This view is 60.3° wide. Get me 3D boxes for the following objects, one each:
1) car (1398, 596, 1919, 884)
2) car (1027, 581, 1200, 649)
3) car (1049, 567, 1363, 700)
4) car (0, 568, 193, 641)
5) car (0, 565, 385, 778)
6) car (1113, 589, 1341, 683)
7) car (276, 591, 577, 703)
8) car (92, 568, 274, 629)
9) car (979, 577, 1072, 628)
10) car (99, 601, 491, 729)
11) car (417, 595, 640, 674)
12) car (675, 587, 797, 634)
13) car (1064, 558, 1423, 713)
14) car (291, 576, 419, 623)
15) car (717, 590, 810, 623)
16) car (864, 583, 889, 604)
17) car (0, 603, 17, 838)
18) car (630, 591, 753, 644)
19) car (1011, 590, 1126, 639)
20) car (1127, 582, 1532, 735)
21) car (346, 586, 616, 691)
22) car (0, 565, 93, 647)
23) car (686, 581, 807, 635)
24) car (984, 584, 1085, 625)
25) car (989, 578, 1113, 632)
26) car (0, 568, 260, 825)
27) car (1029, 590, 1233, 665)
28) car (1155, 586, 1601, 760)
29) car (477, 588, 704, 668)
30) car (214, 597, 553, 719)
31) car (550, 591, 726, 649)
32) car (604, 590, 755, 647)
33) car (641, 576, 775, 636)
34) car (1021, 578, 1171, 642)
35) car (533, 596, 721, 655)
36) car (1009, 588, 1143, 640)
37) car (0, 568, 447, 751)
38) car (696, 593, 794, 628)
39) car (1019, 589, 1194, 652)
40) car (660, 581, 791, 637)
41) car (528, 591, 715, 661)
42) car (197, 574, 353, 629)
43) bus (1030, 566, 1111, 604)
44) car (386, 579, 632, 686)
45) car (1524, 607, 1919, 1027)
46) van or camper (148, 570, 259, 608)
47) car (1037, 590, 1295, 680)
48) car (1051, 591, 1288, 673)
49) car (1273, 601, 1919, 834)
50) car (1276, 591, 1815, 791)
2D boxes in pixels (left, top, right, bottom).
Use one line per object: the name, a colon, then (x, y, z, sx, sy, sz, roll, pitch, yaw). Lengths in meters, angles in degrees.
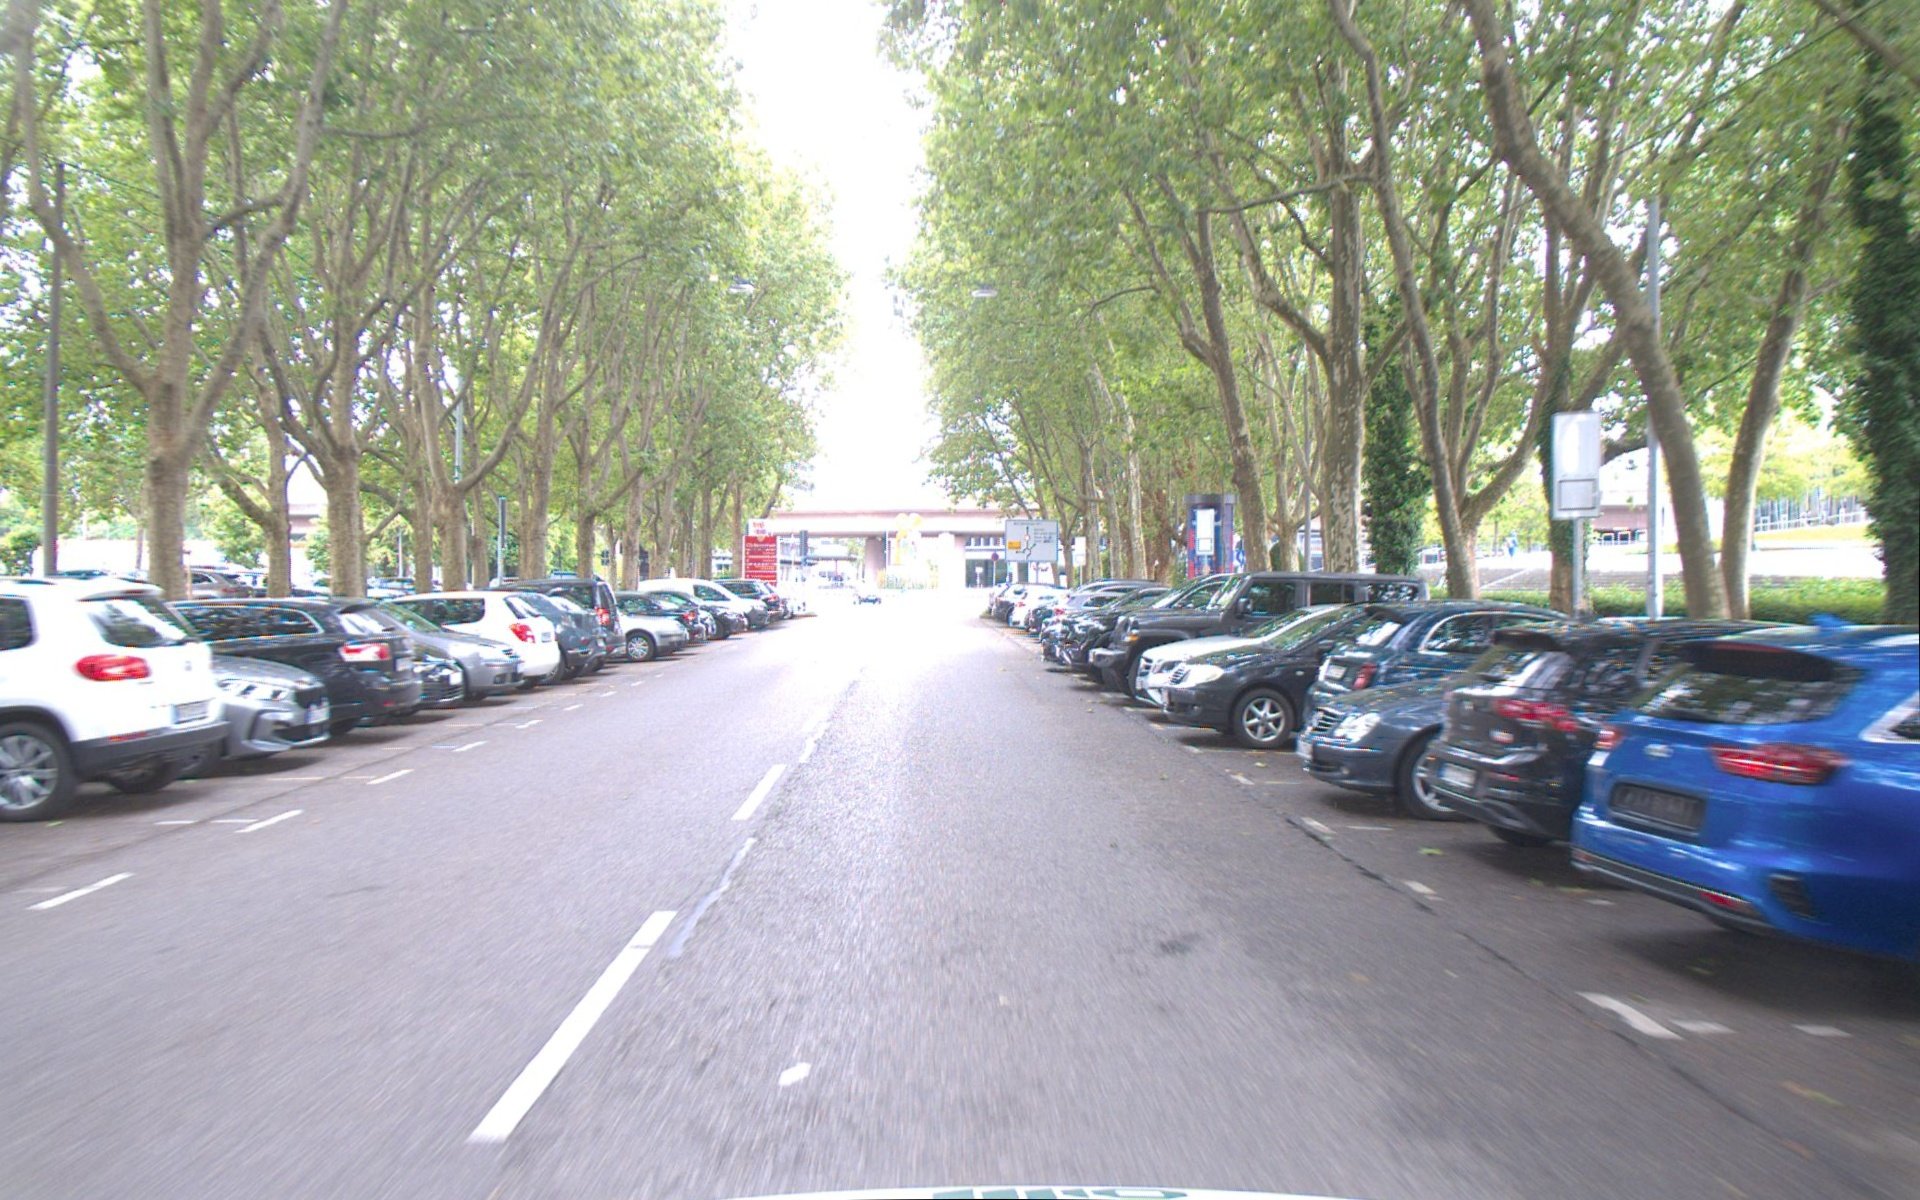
car: (4.935, 0.786, 9.875, 4.113, 1.481, 1.784, 2, 1, -5)
car: (4.098, 0.395, 44.782, 4.497, 1.668, 1.873, 2, 1, 0)
car: (3.654, 0.474, 25.183, 4.404, 1.828, 2.047, 2, 1, -2)
car: (-23.659, 0.135, 45.367, 4.234, 1.893, 2.027, 1, 0, -2)
car: (-7.331, 0.576, 14.472, 3.905, 1.711, 1.855, 1, 0, 0)
car: (5.669, 0.745, 35.420, 4.410, 1.828, 2.044, 2, 1, -8)
car: (-7.952, 0.681, 24.847, 3.909, 1.511, 1.704, -1, 1, 3)
car: (-23.718, -0.053, 50.630, 4.460, 1.756, 2.295, 1, 0, -2)
car: (2.821, 0.084, 71.867, 3.906, 2.048, 2.000, 2, 1, -1)
car: (-7.799, 0.743, 19.713, 3.907, 1.393, 1.843, 1, 0, -3)
car: (-8.345, 0.643, 32.243, 3.852, 1.388, 1.826, -1, 1, -3)
car: (-8.031, 0.377, 59.633, 4.044, 1.477, 2.013, -3, 1, 0)
car: (3.755, 0.448, 22.439, 4.407, 1.899, 2.046, 2, 1, -5)
car: (-23.769, -0.005, 65.091, 4.234, 1.739, 2.131, 1, 0, -2)
car: (-8.850, 0.310, 74.811, 3.911, 1.409, 1.912, 1, 0, 2)
car: (-6.324, -0.463, 125.531, 1.805, 1.536, 4.013, 1, 0, -3)
car: (-7.999, 0.729, 9.639, 3.905, 1.478, 1.855, 1, 0, 0)
car: (-8.453, 0.523, 51.966, 3.716, 1.497, 1.759, -2, 1, -12)
car: (3.571, 0.471, 54.767, 3.568, 1.451, 1.664, 2, 1, -5)
car: (4.292, 0.649, 19.822, 4.402, 1.599, 2.048, 2, 1, 2)
car: (-7.677, 0.588, 26.796, 3.852, 1.542, 1.727, -1, 1, -3)
car: (-22.972, 0.116, 38.051, 4.843, 1.828, 2.182, 0, 0, -4)
car: (-7.925, 0.275, 61.651, 4.230, 1.841, 1.867, -2, 1, -1)
car: (3.215, 0.183, 72.291, 4.258, 1.662, 1.925, 2, 1, -1)
car: (3.248, 0.166, 59.783, 4.259, 1.791, 1.924, 2, 0, -3)
car: (-7.466, 0.626, 12.044, 3.905, 1.711, 1.855, 1, 0, 0)
car: (3.848, 0.613, 37.568, 4.263, 1.528, 1.923, 2, 1, -7)
car: (4.220, 0.721, 17.139, 4.111, 1.545, 1.784, 2, 0, -2)
car: (-7.696, 0.564, 34.733, 4.374, 1.508, 1.702, -1, 1, -3)
car: (-7.597, 0.739, 22.082, 3.913, 1.445, 1.702, -1, 1, -3)
car: (-8.628, 0.515, 44.563, 4.373, 1.393, 1.879, -1, 1, -2)
car: (-7.947, 0.505, 47.065, 3.896, 1.445, 1.756, -2, 0, 2)
car: (-8.284, 0.187, 54.669, 4.233, 1.841, 1.866, -2, 1, -5)
car: (4.064, 0.285, 49.780, 4.260, 1.776, 1.836, 2, 1, -3)
car: (-8.478, 0.635, 42.374, 4.371, 1.371, 1.902, -1, 1, 0)
car: (3.617, 0.436, 52.253, 4.064, 1.483, 1.727, 2, 0, -1)
car: (-7.517, 0.578, 16.931, 3.905, 1.711, 1.855, 1, 0, 0)
car: (-9.062, 0.439, 69.874, 3.906, 1.430, 1.861, 1, 0, -2)
car: (3.699, 0.496, 42.367, 4.258, 1.438, 1.925, 2, 1, -1)
car: (-8.066, 0.314, 57.191, 4.230, 1.826, 2.036, 1, 0, -1)
car: (-7.550, 0.571, 37.159, 3.852, 1.422, 1.702, -1, 1, -3)
car: (-23.792, 0.065, 57.582, 4.427, 1.793, 2.295, 1, 0, -2)
bus: (10.311, -1.363, 153.022, 2.295, 3.458, 9.972, 1, 1, 38)
car: (-7.905, 0.551, 29.254, 3.852, 1.738, 1.751, -1, 1, -3)
car: (4.760, 0.839, 7.154, 3.939, 1.472, 1.912, 2, 1, -7)
van or camper: (-35.875, -0.516, 78.506, 4.234, 1.739, 2.131, 1, 0, -2)
car: (3.668, 0.612, 30.025, 4.404, 1.453, 1.932, 2, 0, -1)
car: (4.041, 0.603, 32.400, 4.403, 1.444, 1.829, 2, 0, 0)
car: (4.591, 0.822, 12.277, 4.113, 1.481, 1.784, 2, 1, -5)
car: (5.068, 0.762, 14.655, 4.113, 1.545, 1.784, 2, 1, -5)
